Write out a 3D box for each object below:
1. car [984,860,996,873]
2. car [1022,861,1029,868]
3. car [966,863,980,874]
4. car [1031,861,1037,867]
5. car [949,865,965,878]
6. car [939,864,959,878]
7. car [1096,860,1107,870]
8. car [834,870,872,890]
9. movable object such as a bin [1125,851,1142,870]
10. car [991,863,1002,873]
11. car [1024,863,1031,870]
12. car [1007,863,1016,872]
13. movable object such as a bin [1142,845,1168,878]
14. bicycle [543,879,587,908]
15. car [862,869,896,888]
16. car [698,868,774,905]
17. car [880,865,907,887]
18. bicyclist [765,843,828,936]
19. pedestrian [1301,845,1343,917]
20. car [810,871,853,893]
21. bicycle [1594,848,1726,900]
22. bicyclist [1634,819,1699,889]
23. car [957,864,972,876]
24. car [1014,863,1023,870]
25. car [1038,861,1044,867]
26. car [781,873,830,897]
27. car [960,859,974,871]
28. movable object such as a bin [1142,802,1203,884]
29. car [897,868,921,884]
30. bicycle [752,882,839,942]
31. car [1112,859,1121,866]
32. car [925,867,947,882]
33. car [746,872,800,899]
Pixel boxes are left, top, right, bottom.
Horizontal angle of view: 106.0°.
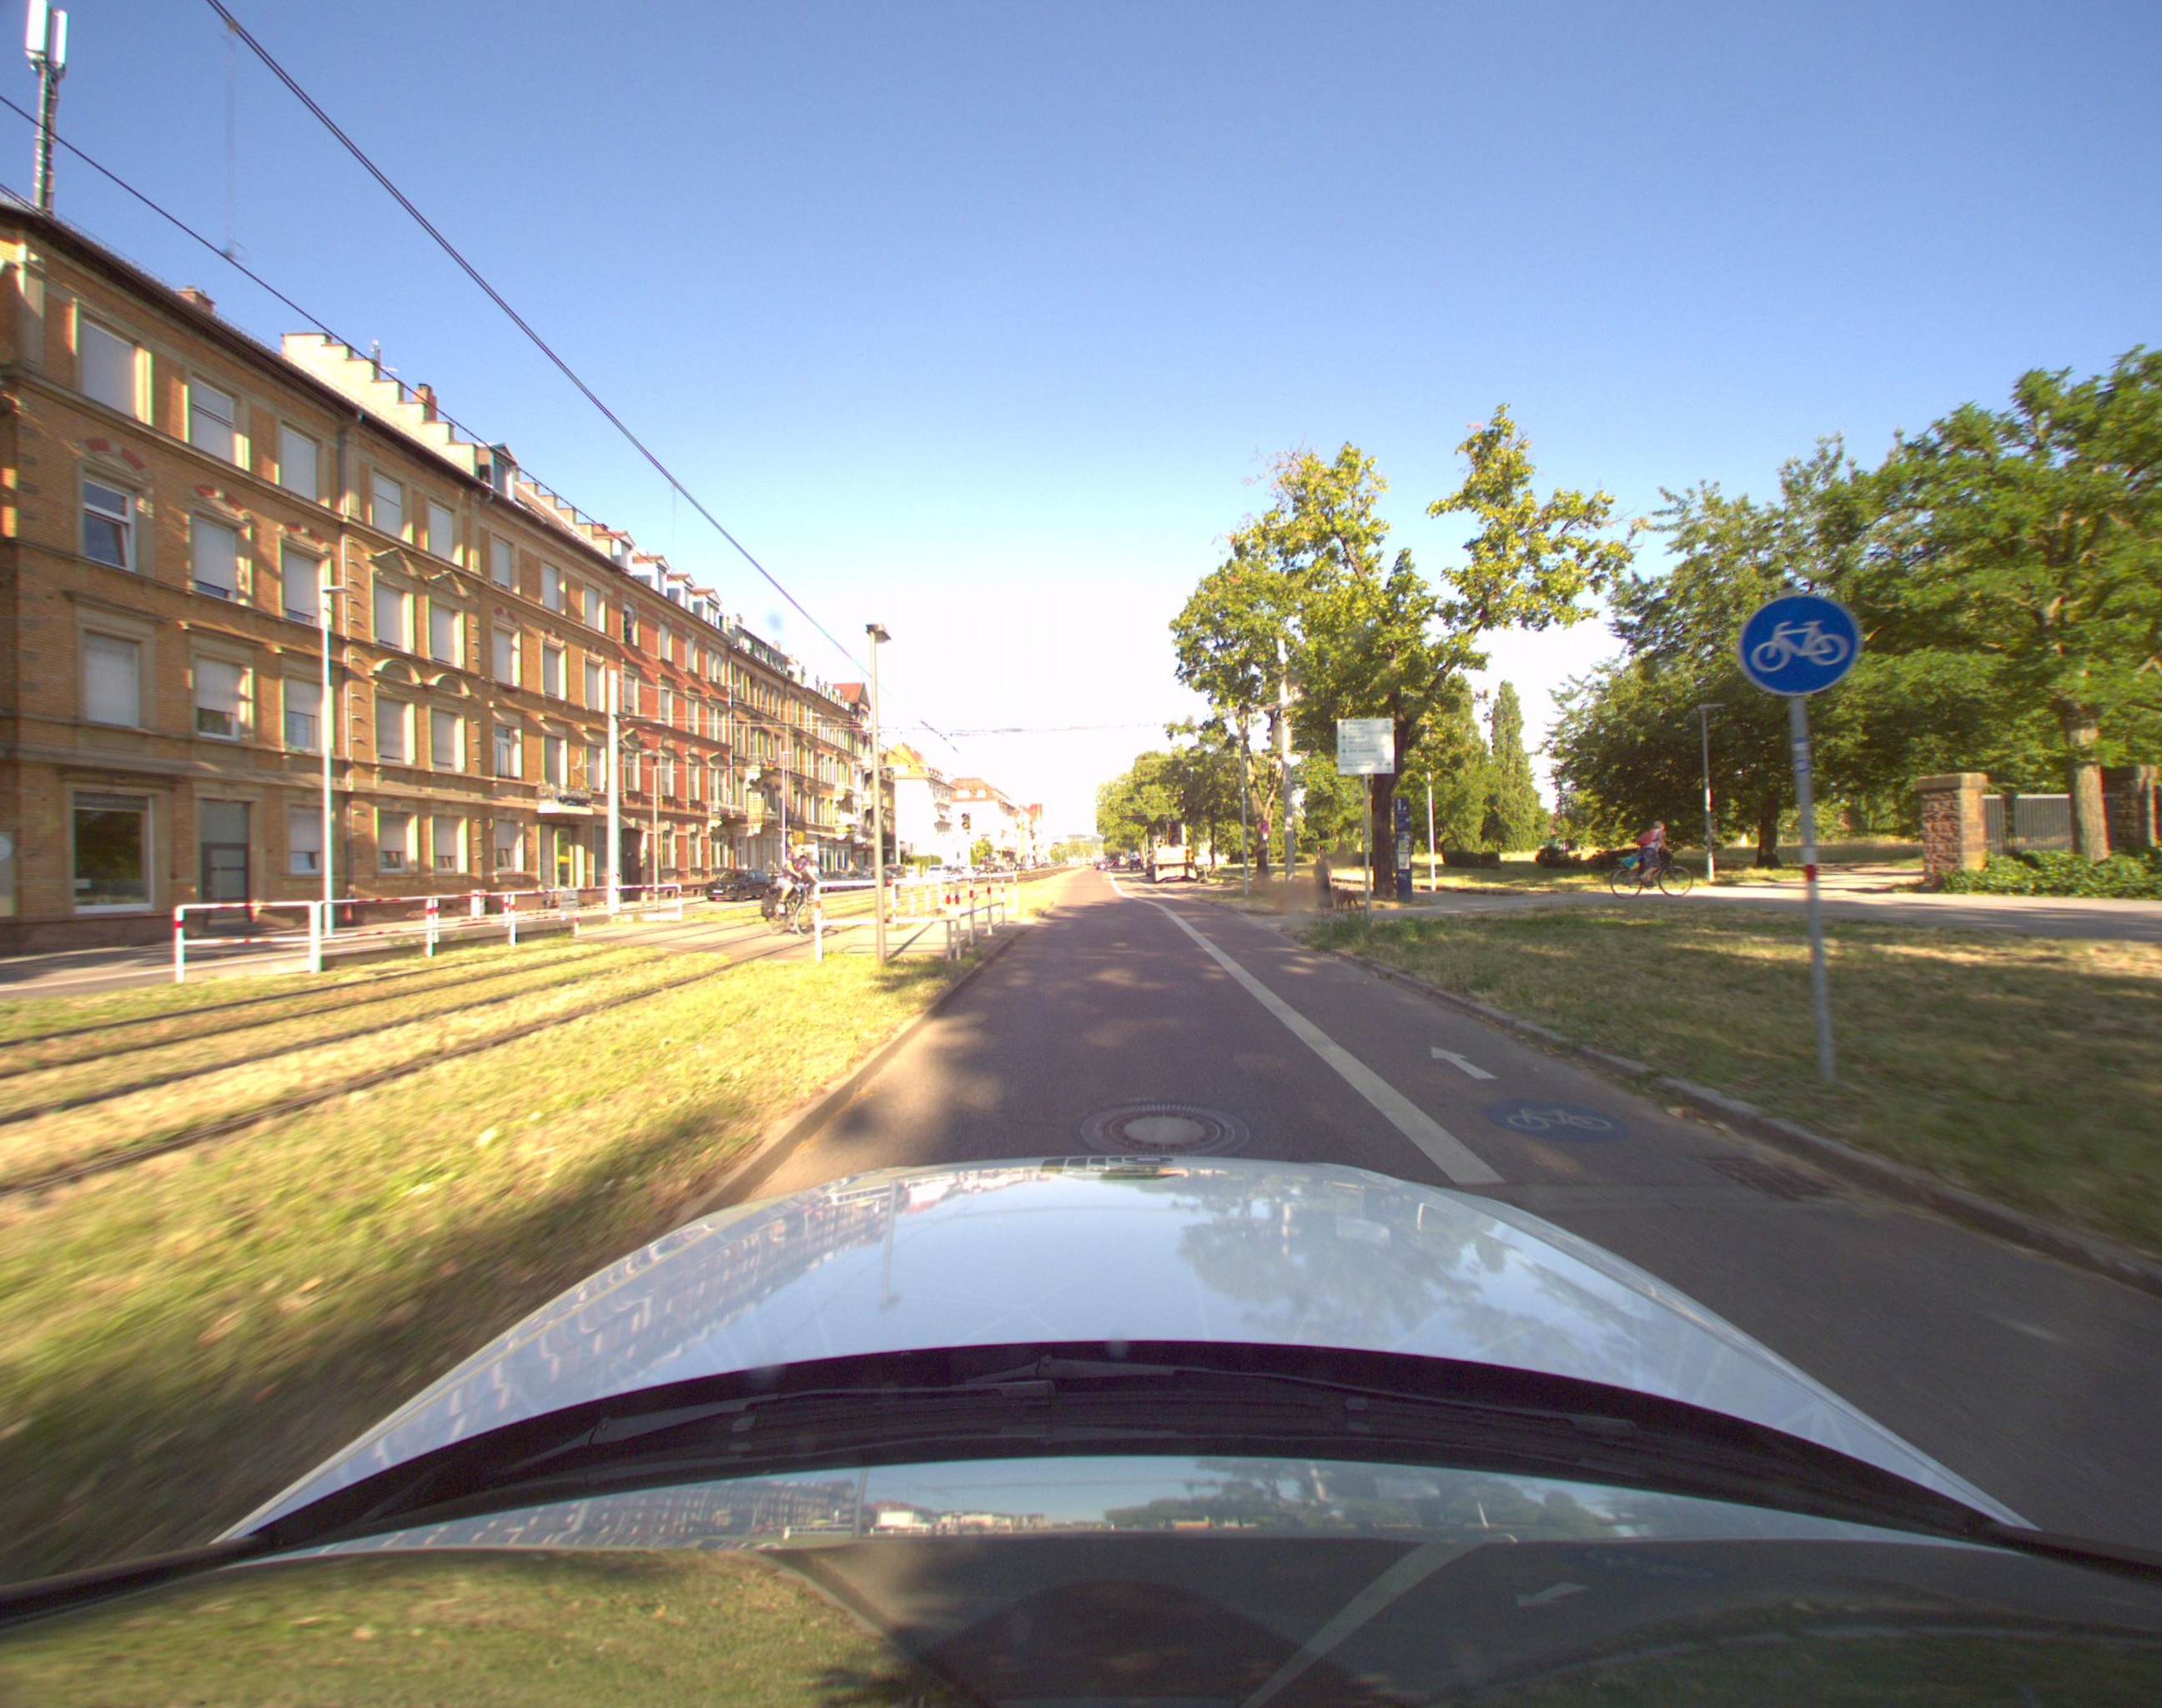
[{"bbox_3d":[-15.498,2.102,138.550,1.652,2.140,3.526,0,0,1],"label":"car"},{"bbox_3d":[-14.047,2.635,207.896,1.521,1.610,3.224,0,0,1],"label":"car"},{"bbox_3d":[-15.775,2.113,119.254,1.521,1.560,3.224,0,0,1],"label":"car"},{"bbox_3d":[-12.761,2.750,220.289,1.521,1.610,3.224,0,0,1],"label":"car"},{"bbox_3d":[-15.766,2.267,103.816,1.521,1.560,3.224,0,0,1],"label":"car"},{"bbox_3d":[-15.919,2.075,98.273,1.735,1.560,3.768,0,0,1],"label":"car"},{"bbox_3d":[3.594,1.939,141.616,1.986,1.684,4.001,0,-1,2],"label":"car"},{"bbox_3d":[-17.412,1.952,62.363,1.770,1.406,3.910,0,0,1],"label":"car"},{"bbox_3d":[8.696,1.085,134.473,2.458,2.906,4.000,-5,-1,1],"label":"movable object such as a bin"},{"bbox_3d":[-14.985,2.453,144.413,1.521,1.560,3.224,0,0,1],"label":"car"},{"bbox_3d":[-13.132,3.137,199.016,1.521,1.560,3.224,0,0,1],"label":"car"},{"bbox_3d":[-13.570,2.591,159.288,1.521,1.560,3.224,0,0,1],"label":"car"},{"bbox_3d":[7.201,0.753,79.242,1.961,3.013,4.797,-4,-1,1],"label":"movable object such as a bin"},{"bbox_3d":[-21.992,1.663,34.750,0.696,1.180,1.752,0,-1,2],"label":"bicycle"},{"bbox_3d":[-16.883,2.037,68.170,1.770,1.406,3.980,0,0,1],"label":"car"},{"bbox_3d":[-18.235,1.674,43.266,2.008,1.754,4.559,0,0,1],"label":"car"},{"bbox_3d":[-16.958,1.990,73.798,1.556,1.854,3.901,0,0,1],"label":"car"},{"bbox_3d":[-5.480,0.670,15.667,0.911,1.715,0.771,-2,0,44],"label":"bicyclist"},{"bbox_3d":[5.780,0.647,19.574,0.658,1.647,0.863,-4,-1,2],"label":"pedestrian"},{"bbox_3d":[-17.657,1.949,57.845,1.770,1.406,3.910,0,0,1],"label":"car"},{"bbox_3d":[12.715,0.434,17.948,2.245,1.040,0.769,-2,0,11],"label":"bicycle"},{"bbox_3d":[12.873,0.000,17.932,0.897,1.496,0.769,-2,0,11],"label":"bicyclist"},{"bbox_3d":[-15.763,2.156,110.353,1.521,1.560,3.224,0,0,1],"label":"car"},{"bbox_3d":[-13.971,2.781,182.091,1.521,1.560,3.224,0,0,1],"label":"car"},{"bbox_3d":[-12.261,3.026,251.328,1.521,1.610,3.224,0,0,1],"label":"car"},{"bbox_3d":[-17.846,1.977,52.954,1.770,1.406,3.910,0,0,1],"label":"car"},{"bbox_3d":[-15.975,1.530,114.308,1.521,1.560,3.224,0,0,1],"label":"car"},{"bbox_3d":[6.259,-0.657,57.121,3.076,5.088,8.893,-4,-1,1],"label":"movable object such as a bin"},{"bbox_3d":[-17.037,2.154,80.679,1.556,1.457,3.666,0,0,1],"label":"car"},{"bbox_3d":[-5.523,1.084,15.713,1.935,1.040,0.771,-2,0,44],"label":"bicycle"},{"bbox_3d":[10.072,2.388,233.091,1.990,1.860,3.993,0,-1,-5],"label":"car"},{"bbox_3d":[-16.604,2.326,93.524,1.735,1.560,3.768,0,0,1],"label":"car"},{"bbox_3d":[-18.098,1.833,47.991,1.769,1.466,3.532,0,-1,1],"label":"car"}]
